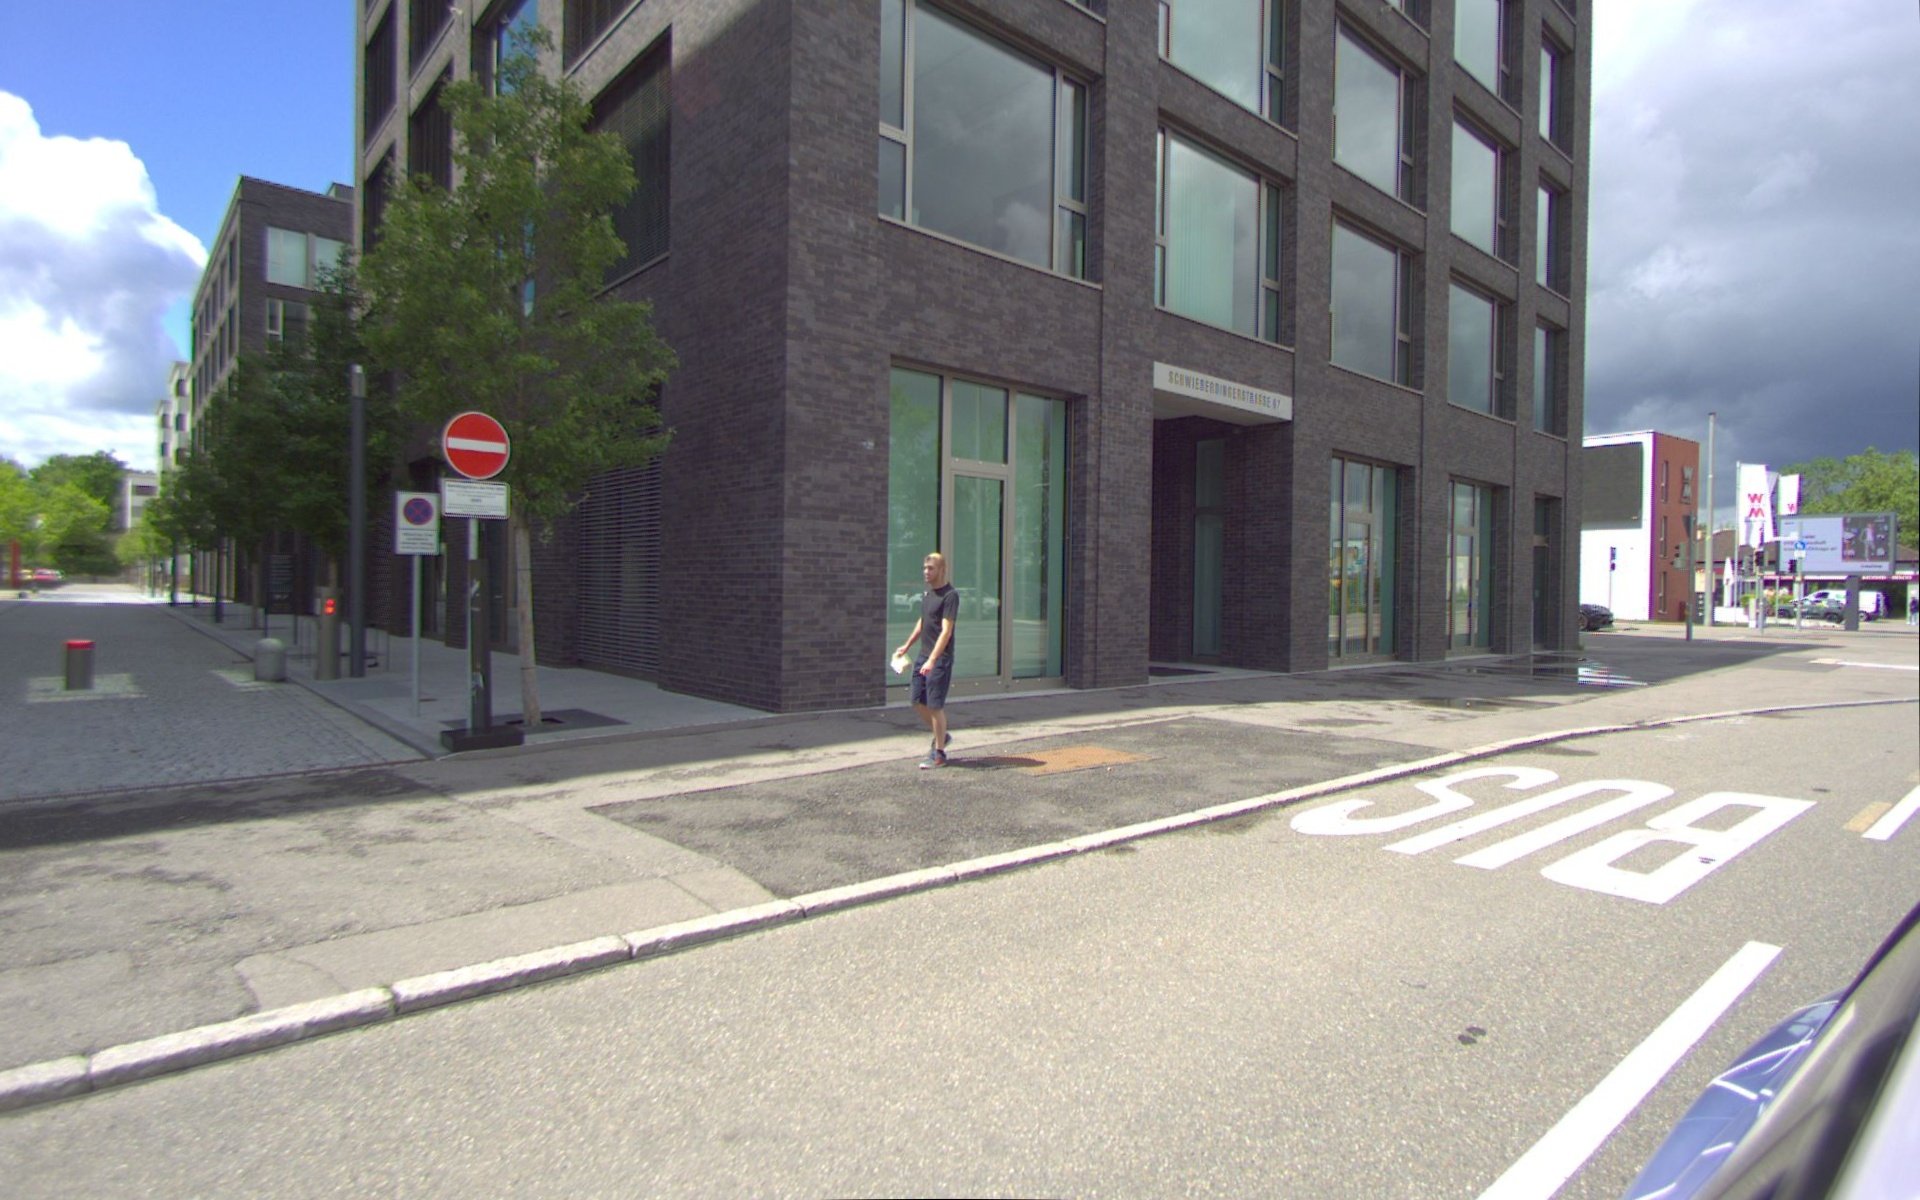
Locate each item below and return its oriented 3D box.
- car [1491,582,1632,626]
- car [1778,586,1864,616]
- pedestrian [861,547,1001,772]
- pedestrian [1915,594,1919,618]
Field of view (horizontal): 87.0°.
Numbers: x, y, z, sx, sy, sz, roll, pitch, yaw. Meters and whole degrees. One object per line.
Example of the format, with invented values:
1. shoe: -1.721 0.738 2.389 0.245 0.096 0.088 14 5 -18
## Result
1. car: 24.923 0.114 42.063 1.965 1.639 4.649 0 1 -40
2. car: 53.108 0.019 62.504 1.729 1.503 3.680 0 6 -37
3. pedestrian: -0.237 0.462 8.446 0.945 1.749 0.684 0 0 -41
4. pedestrian: 60.368 0.315 63.195 0.726 1.725 0.715 -1 9 -39
